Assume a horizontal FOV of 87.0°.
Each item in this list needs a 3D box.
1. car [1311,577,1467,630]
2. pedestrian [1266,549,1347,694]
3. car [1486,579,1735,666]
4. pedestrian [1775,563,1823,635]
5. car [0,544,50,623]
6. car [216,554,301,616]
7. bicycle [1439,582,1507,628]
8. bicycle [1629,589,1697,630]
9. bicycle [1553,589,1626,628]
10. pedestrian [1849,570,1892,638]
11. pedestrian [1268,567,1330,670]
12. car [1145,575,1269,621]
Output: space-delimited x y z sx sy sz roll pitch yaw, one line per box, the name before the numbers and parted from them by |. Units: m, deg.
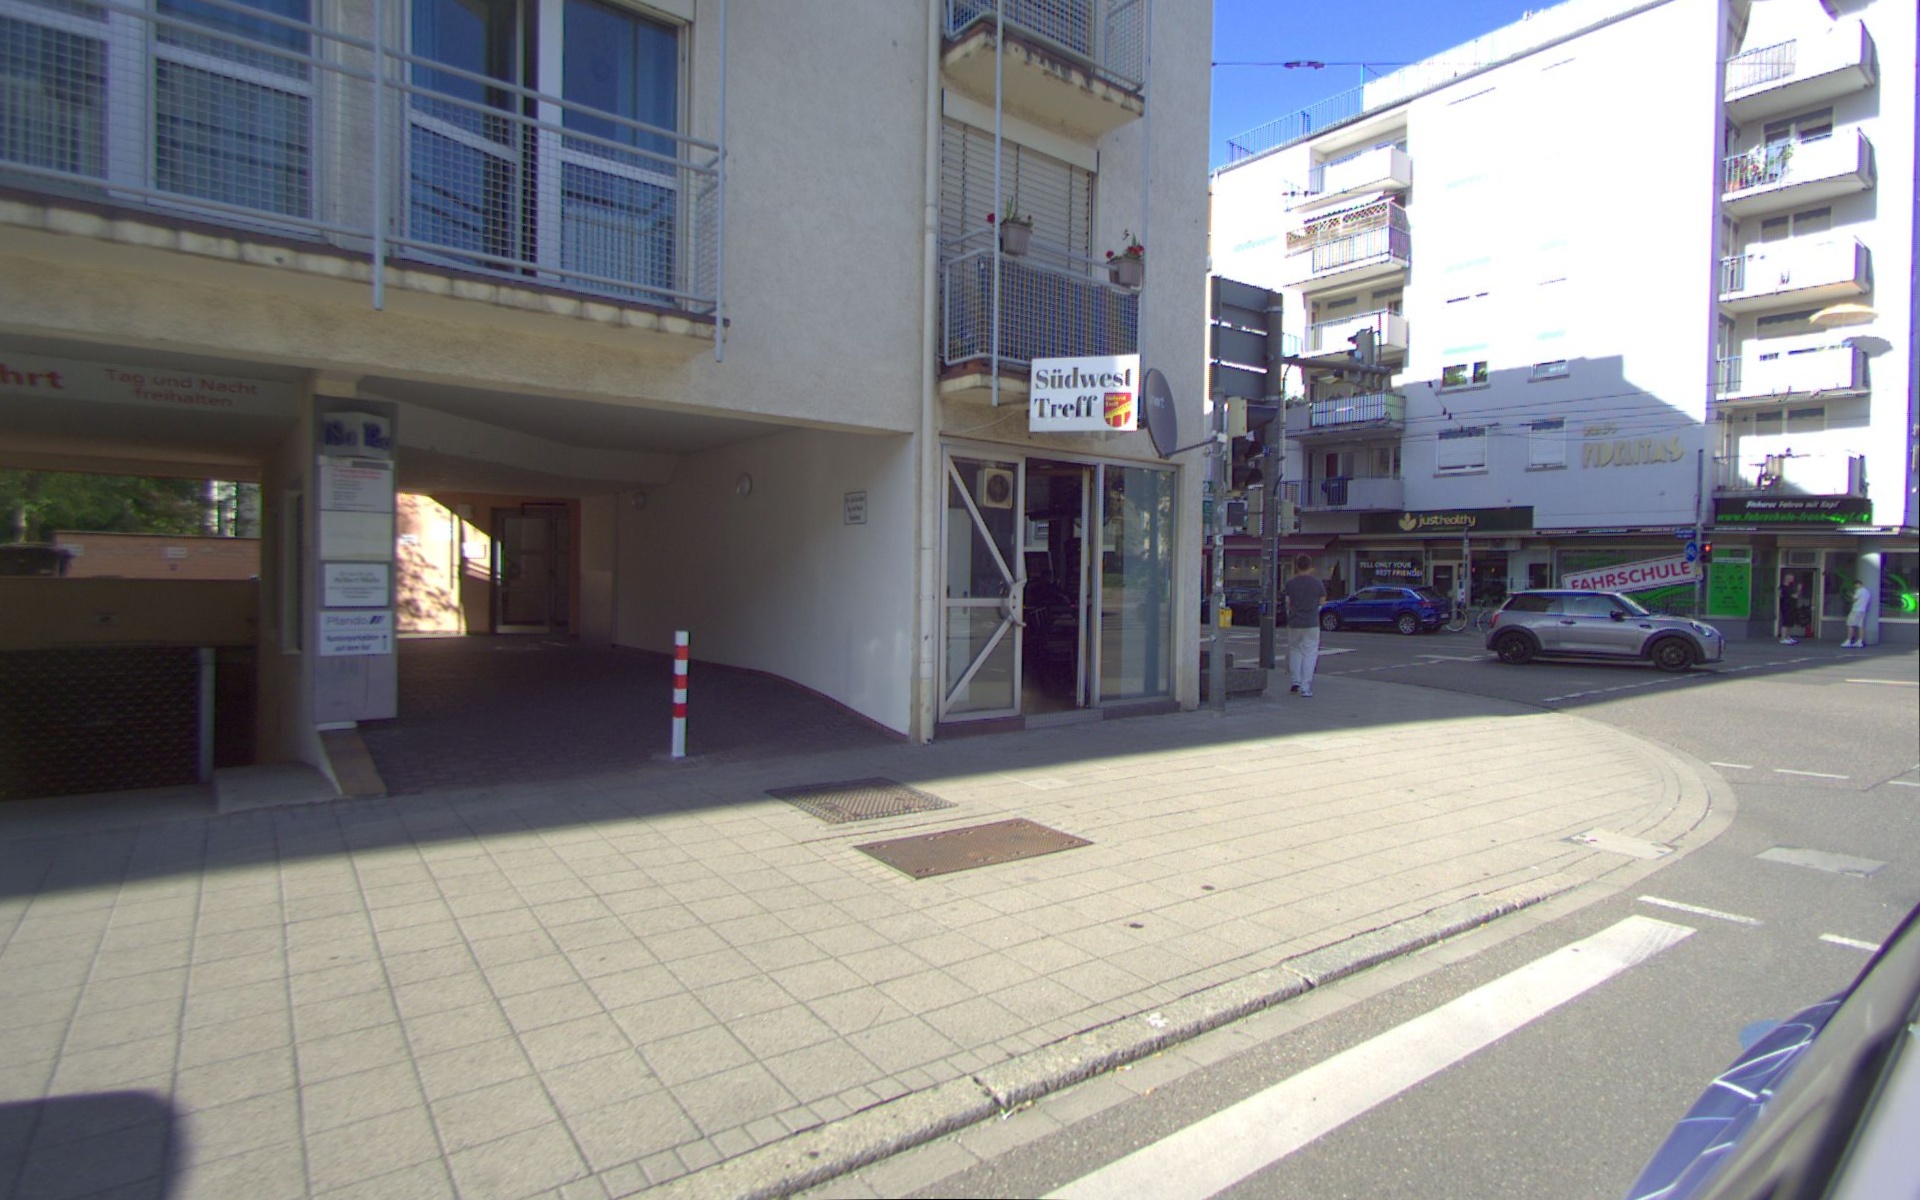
car | 13.589 0.047 32.245 1.744 1.522 4.233 -4 3 -40
pedestrian | 4.418 0.242 12.961 0.675 1.764 1.041 2 2 5
car | 12.139 0.350 19.013 3.795 1.442 1.706 1 2 37
pedestrian | 23.205 -0.037 28.000 0.563 1.922 0.741 0 4 -20
car | -30.944 -0.578 32.369 2.438 2.389 5.451 -3 4 -45
car | -17.761 -0.439 25.592 1.615 1.427 3.646 -3 4 -36
bicycle | 15.891 0.142 31.372 0.598 1.330 1.796 -2 4 -38
bicycle | 20.798 0.275 29.974 0.542 1.119 1.539 -2 3 -36
bicycle | 19.470 0.260 31.331 0.598 1.101 1.796 -3 4 -38
pedestrian | 24.742 0.106 27.495 0.723 1.815 0.662 0 1 -31
pedestrian | 5.669 0.289 16.952 0.529 1.643 0.735 5 1 -13
car | 9.223 -0.141 38.083 1.742 1.492 4.444 -3 4 -37
